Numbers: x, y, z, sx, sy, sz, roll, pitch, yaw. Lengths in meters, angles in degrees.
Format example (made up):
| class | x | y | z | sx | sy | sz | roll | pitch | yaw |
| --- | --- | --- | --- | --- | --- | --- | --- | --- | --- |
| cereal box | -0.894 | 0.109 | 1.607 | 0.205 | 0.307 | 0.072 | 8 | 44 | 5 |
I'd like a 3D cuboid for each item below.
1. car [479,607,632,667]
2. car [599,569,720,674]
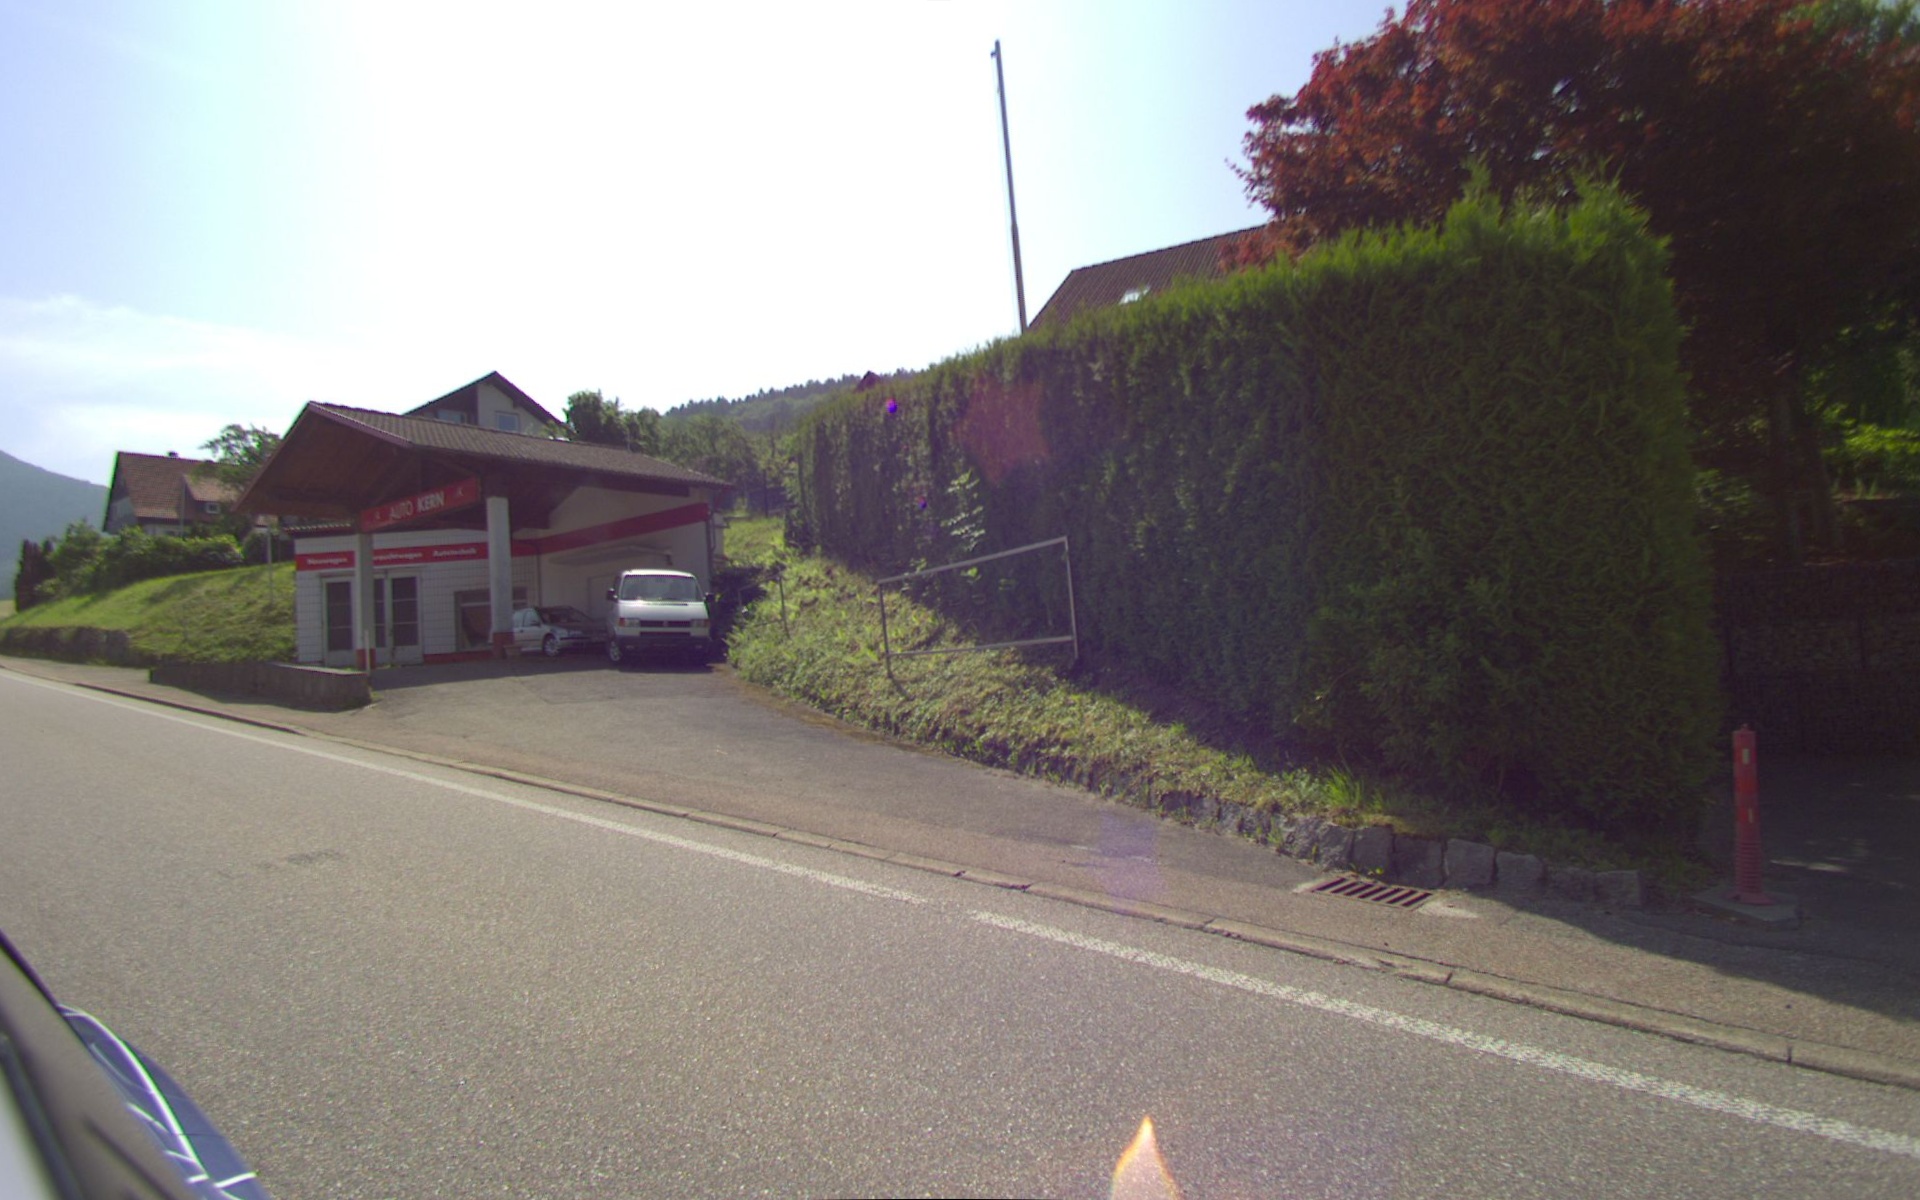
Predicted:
| class | x | y | z | sx | sy | sz | roll | pitch | yaw |
| --- | --- | --- | --- | --- | --- | --- | --- | --- | --- |
| car | -10.823 | 1.005 | 26.933 | 4.339 | 1.424 | 1.938 | -4 | -2 | 40 |
| car | -6.490 | 0.392 | 21.485 | 1.992 | 1.944 | 4.794 | 2 | 0 | -21 |
